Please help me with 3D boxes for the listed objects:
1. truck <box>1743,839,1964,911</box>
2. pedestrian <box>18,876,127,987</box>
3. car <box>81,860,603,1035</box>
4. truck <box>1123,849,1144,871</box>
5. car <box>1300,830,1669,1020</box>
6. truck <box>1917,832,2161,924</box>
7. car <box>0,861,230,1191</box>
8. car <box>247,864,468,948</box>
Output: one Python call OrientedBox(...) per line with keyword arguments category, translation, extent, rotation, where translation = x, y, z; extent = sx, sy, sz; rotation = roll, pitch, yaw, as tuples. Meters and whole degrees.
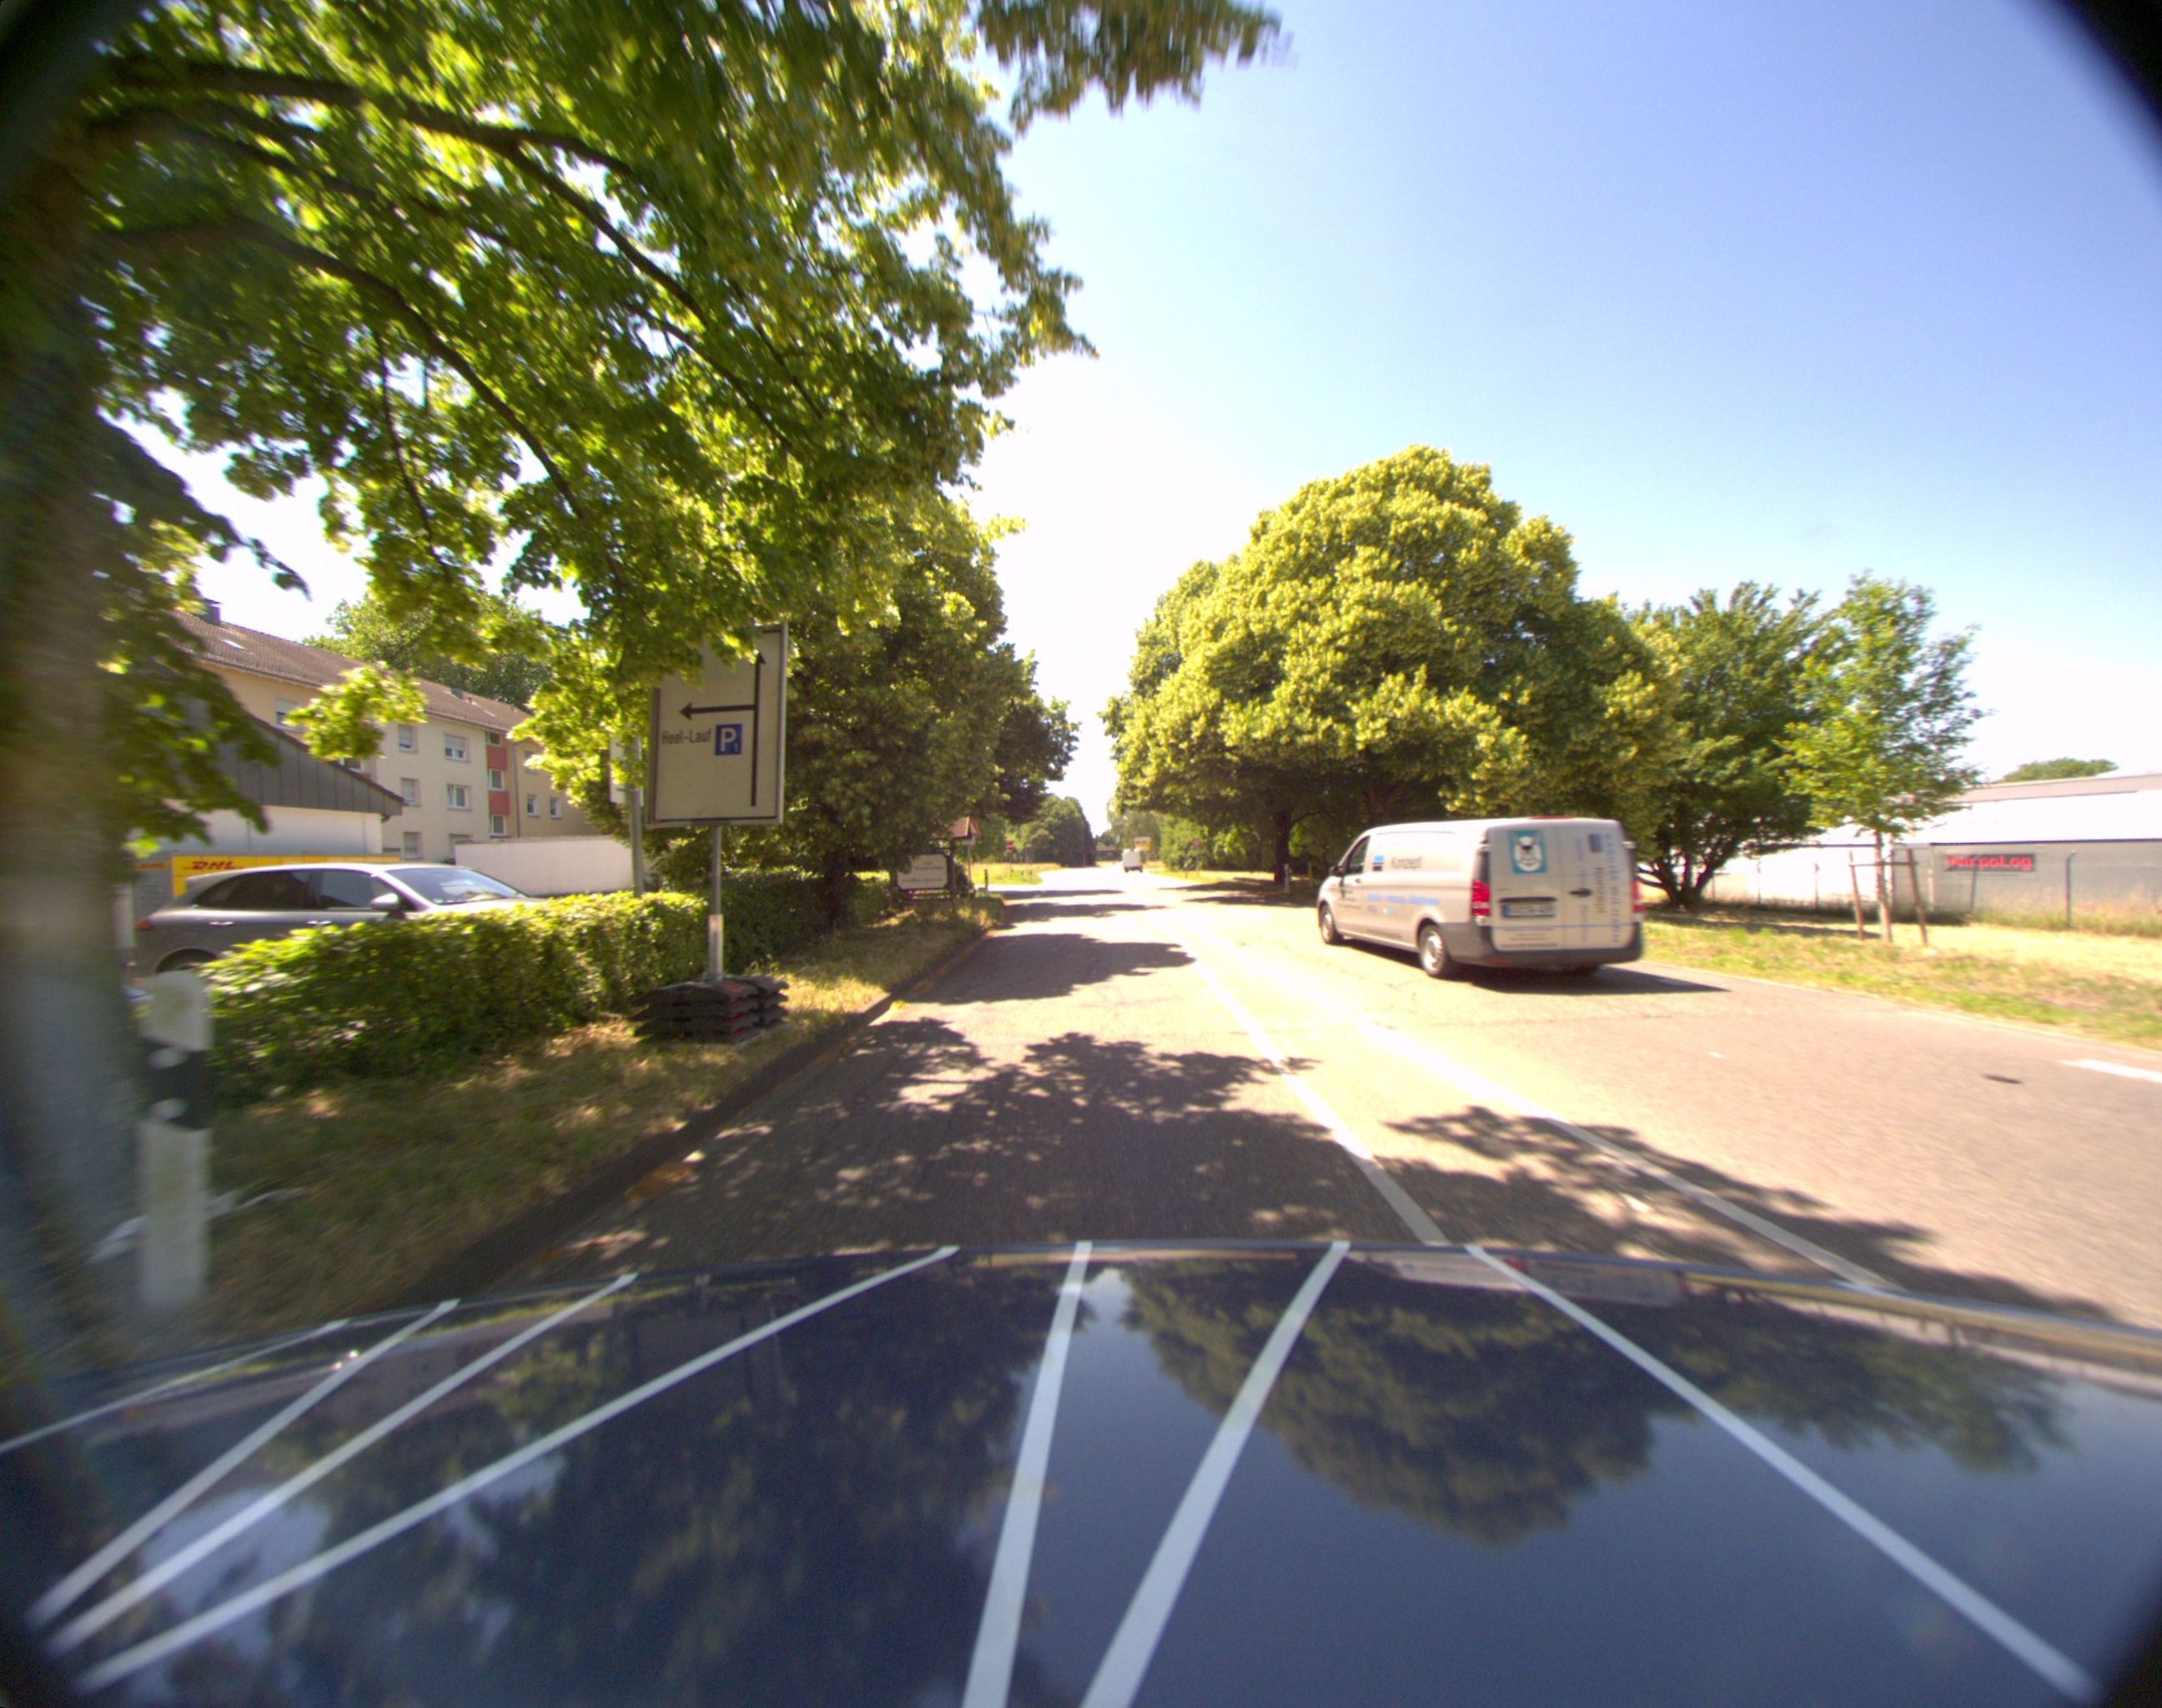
OrientedBox(category="truck", translation=(35.791, 0.888, 35.800), extent=(2.439, 2.910, 8.166), rotation=(-3, 0, 4))
OrientedBox(category="pedestrian", translation=(-16.569, 1.255, 12.506), extent=(0.763, 1.731, 0.698), rotation=(-2, 1, 1))
OrientedBox(category="car", translation=(-8.292, 0.972, 8.919), extent=(3.998, 1.630, 1.999), rotation=(-2, 0, -3))
OrientedBox(category="truck", translation=(6.207, 0.695, 89.602), extent=(2.303, 2.450, 5.343), rotation=(-2, 0, 4))
OrientedBox(category="car", translation=(4.787, 0.686, 10.188), extent=(1.883, 1.823, 5.297), rotation=(-2, 0, -3))
OrientedBox(category="truck", translation=(35.000, 0.719, 25.694), extent=(2.691, 2.780, 10.162), rotation=(-3, -1, 4))
OrientedBox(category="car", translation=(-7.936, 0.992, 3.798), extent=(4.861, 1.666, 1.999), rotation=(-3, 0, -3))
OrientedBox(category="car", translation=(-19.886, 1.369, 21.065), extent=(3.998, 2.002, 1.999), rotation=(-2, 1, -4))
